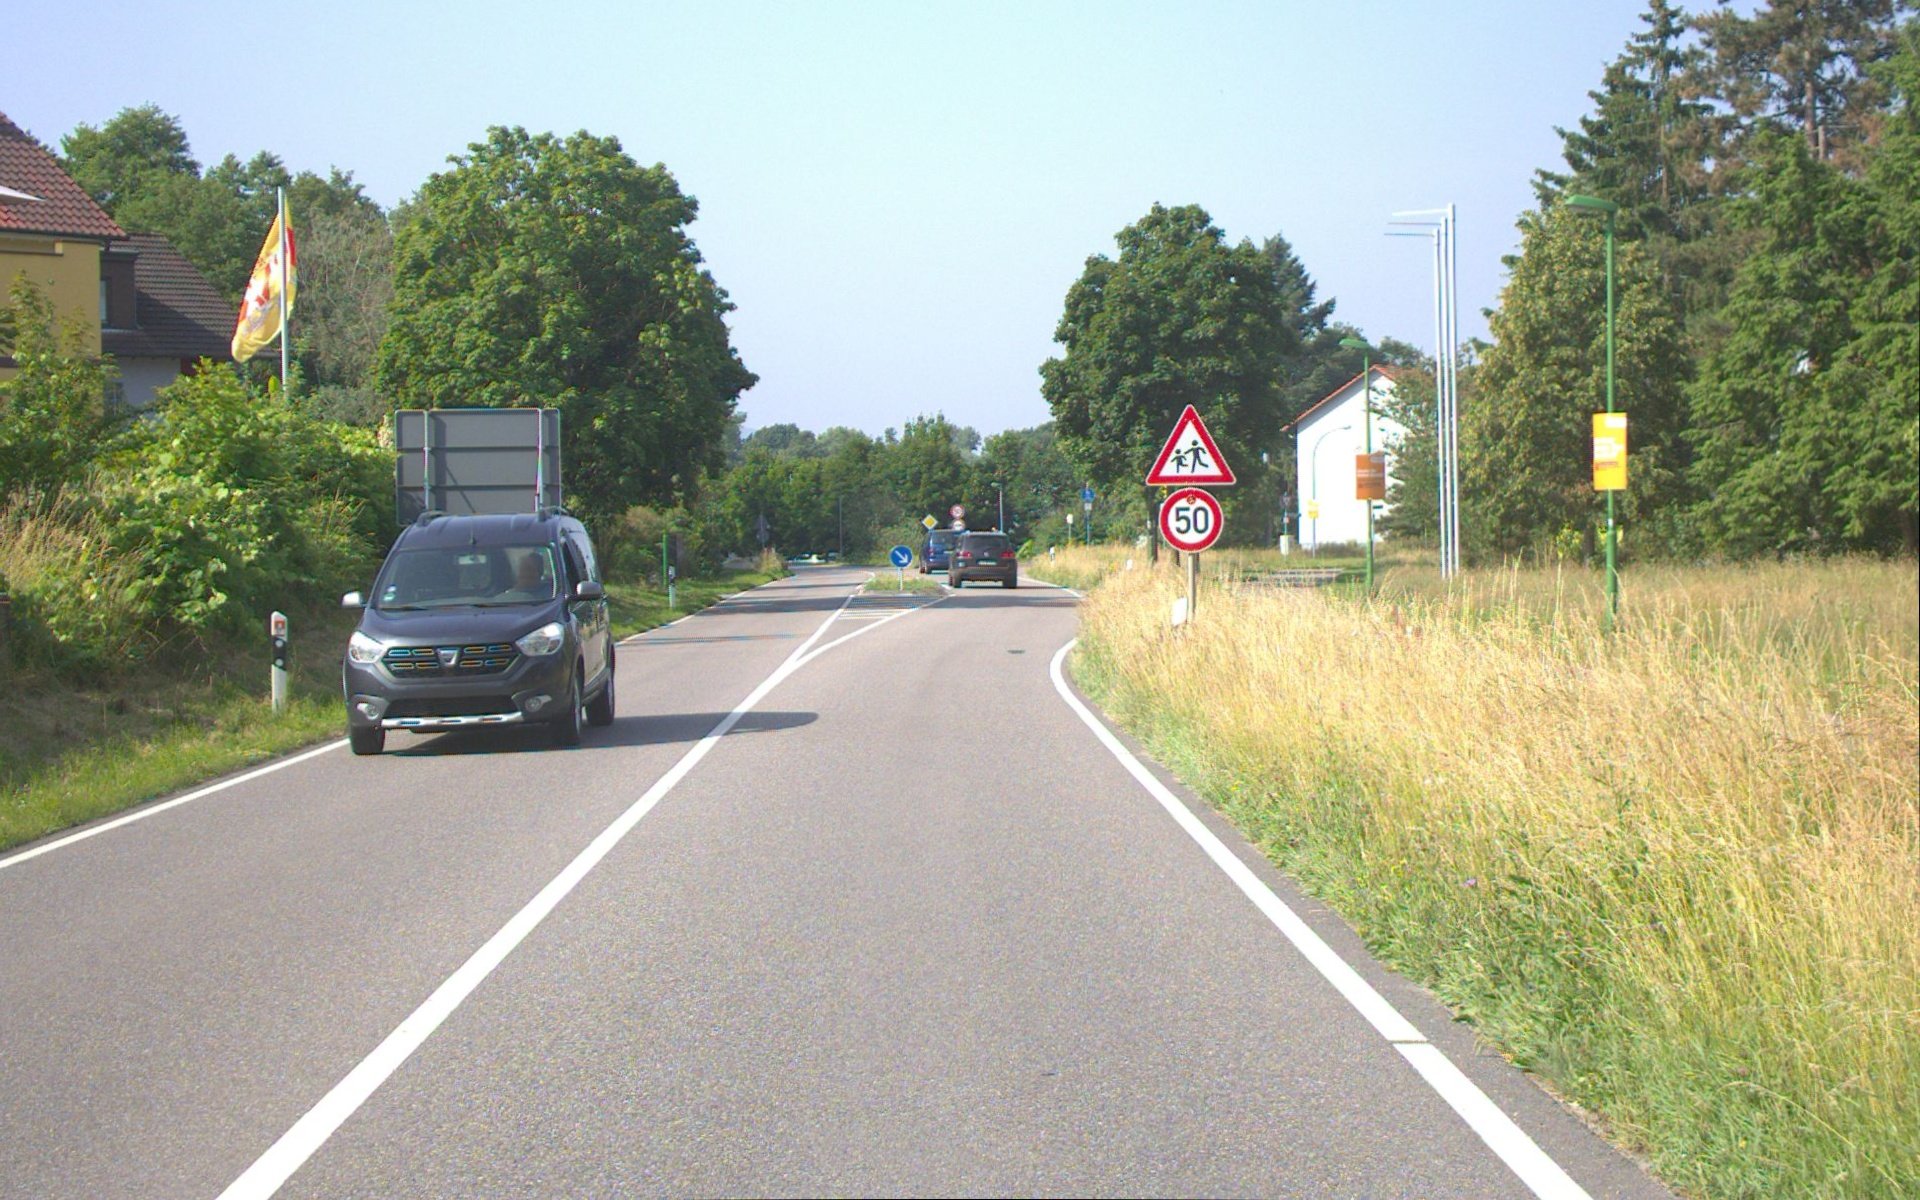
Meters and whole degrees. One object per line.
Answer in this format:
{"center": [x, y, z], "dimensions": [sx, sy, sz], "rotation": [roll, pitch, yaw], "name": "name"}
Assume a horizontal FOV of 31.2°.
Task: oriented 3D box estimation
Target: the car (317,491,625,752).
{"center": [-3.741, 0.113, 26.992], "dimensions": [1.939, 1.811, 4.242], "rotation": [-2, 1, -3], "name": "car"}

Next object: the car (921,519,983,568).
{"center": [-0.327, -2.128, 128.332], "dimensions": [2.004, 1.765, 4.001], "rotation": [-1, 2, -4], "name": "car"}

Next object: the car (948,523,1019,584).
{"center": [0.687, -1.407, 103.530], "dimensions": [1.925, 1.765, 4.001], "rotation": [-1, 2, -3], "name": "car"}
